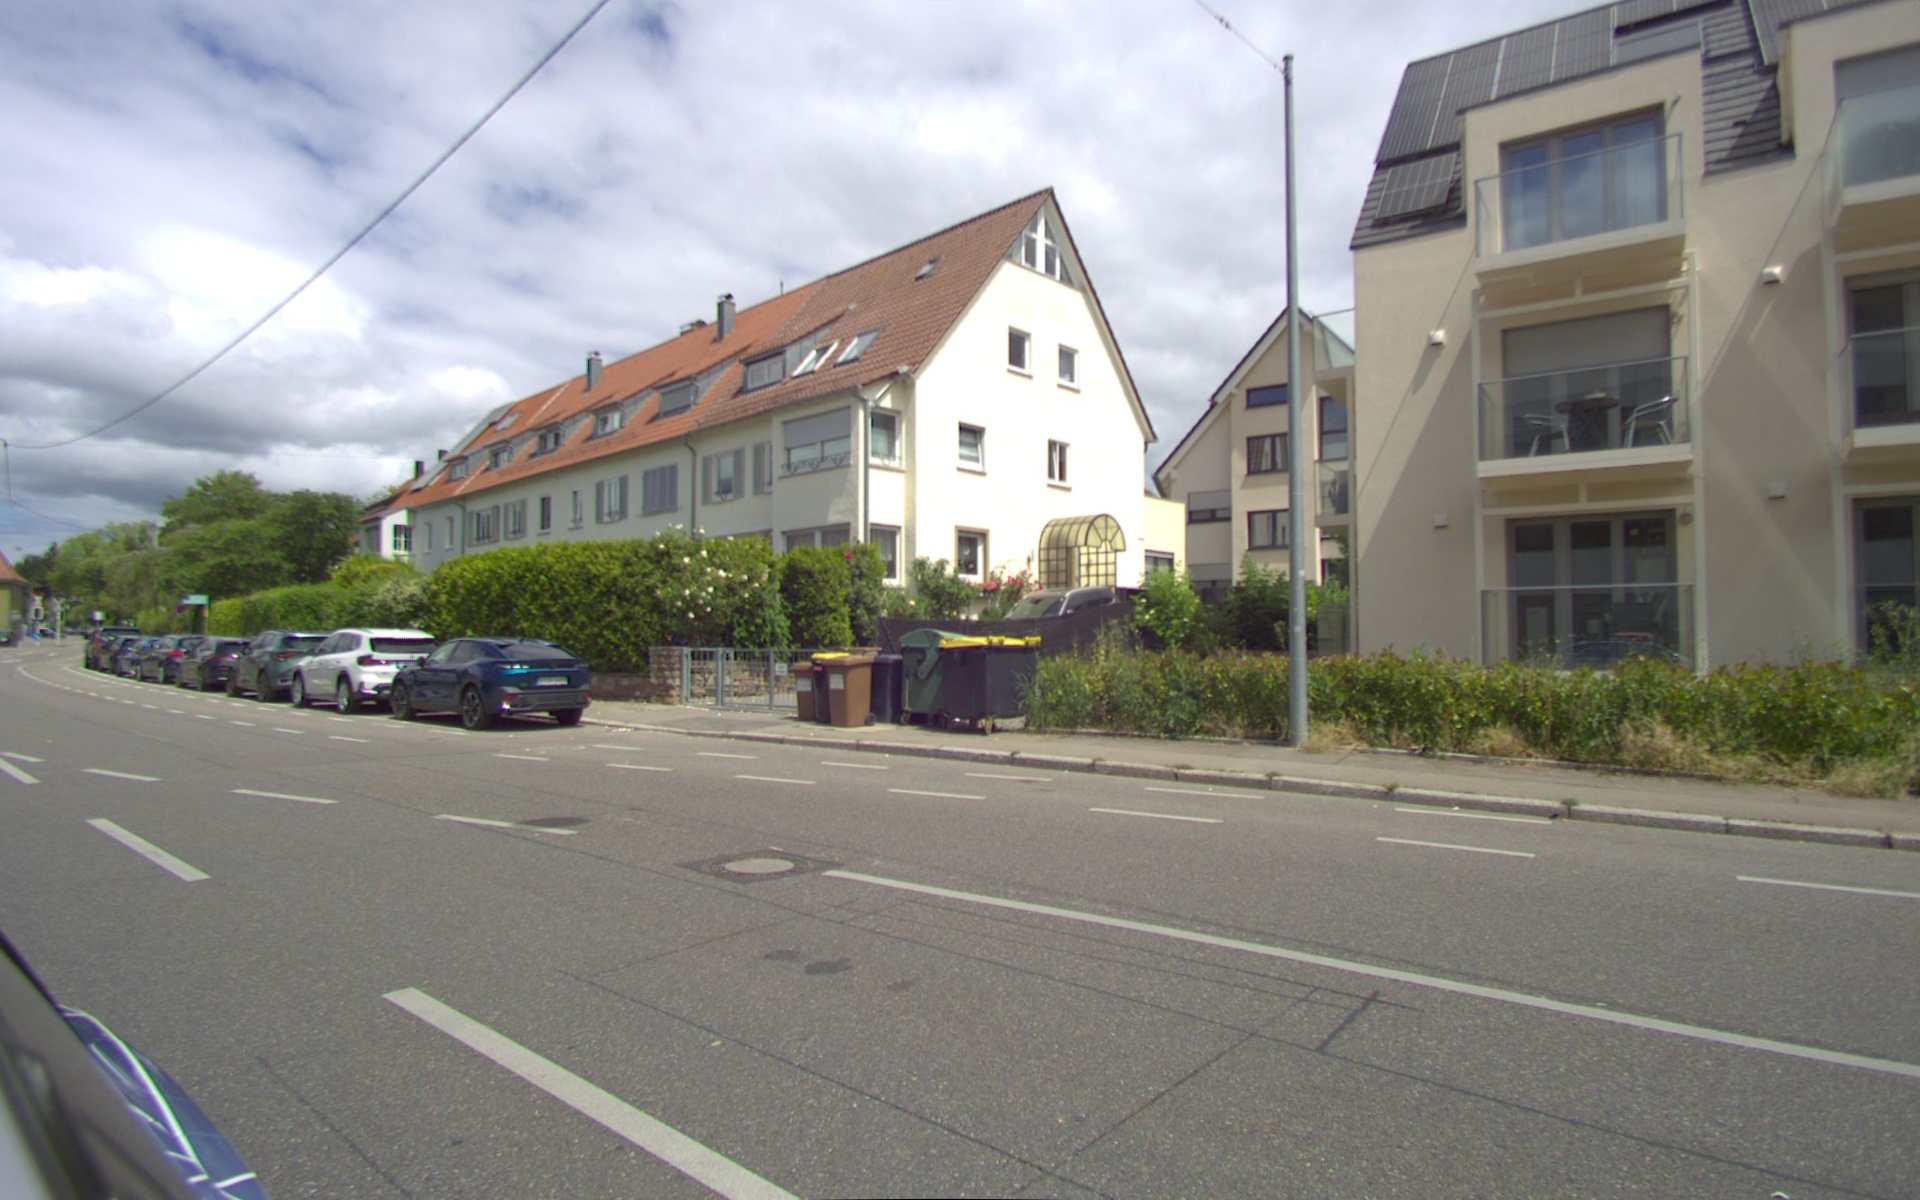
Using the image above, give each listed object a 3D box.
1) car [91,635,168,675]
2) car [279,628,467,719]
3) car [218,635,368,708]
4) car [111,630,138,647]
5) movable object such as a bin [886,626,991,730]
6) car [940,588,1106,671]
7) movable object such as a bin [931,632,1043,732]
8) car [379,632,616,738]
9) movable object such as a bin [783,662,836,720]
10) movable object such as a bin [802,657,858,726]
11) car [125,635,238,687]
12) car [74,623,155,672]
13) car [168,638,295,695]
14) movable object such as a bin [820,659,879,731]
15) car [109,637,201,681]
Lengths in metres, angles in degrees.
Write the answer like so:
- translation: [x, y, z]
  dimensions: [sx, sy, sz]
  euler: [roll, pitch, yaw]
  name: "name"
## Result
- translation: [-31.971, 2.082, 38.927]
  dimensions: [4.340, 1.428, 1.758]
  euler: [-2, -3, 44]
  name: "car"
- translation: [-12.036, 1.407, 20.632]
  dimensions: [4.515, 1.663, 1.972]
  euler: [-2, -3, 41]
  name: "car"
- translation: [-16.088, 1.639, 24.307]
  dimensions: [4.690, 1.576, 1.971]
  euler: [-2, -3, 43]
  name: "car"
- translation: [-87.074, 4.012, 105.507]
  dimensions: [1.891, 1.661, 4.302]
  euler: [6, -5, -38]
  name: "car"
- translation: [-0.327, 1.152, 15.407]
  dimensions: [1.213, 1.493, 1.054]
  euler: [-2, -3, 39]
  name: "movable object such as a bin"
- translation: [1.525, 0.650, 23.209]
  dimensions: [1.802, 1.719, 3.946]
  euler: [-2, -1, 40]
  name: "car"
- translation: [0.381, 1.121, 14.319]
  dimensions: [1.214, 1.323, 1.053]
  euler: [-2, -3, 43]
  name: "movable object such as a bin"
- translation: [-8.070, 1.361, 17.499]
  dimensions: [4.485, 1.599, 1.973]
  euler: [-1, -3, 40]
  name: "car"
- translation: [-2.419, 1.450, 16.317]
  dimensions: [0.614, 0.886, 0.589]
  euler: [-2, -3, 41]
  name: "movable object such as a bin"
- translation: [-2.024, 1.408, 15.773]
  dimensions: [0.658, 1.032, 0.589]
  euler: [-2, -3, 41]
  name: "movable object such as a bin"
- translation: [-24.266, 1.852, 31.496]
  dimensions: [4.561, 1.503, 1.760]
  euler: [-1, -3, 39]
  name: "car"
- translation: [-35.720, 1.978, 42.714]
  dimensions: [5.405, 1.909, 1.971]
  euler: [-2, -5, 44]
  name: "car"
- translation: [-20.135, 1.771, 27.882]
  dimensions: [4.690, 1.419, 1.971]
  euler: [-2, -3, 43]
  name: "car"
- translation: [-1.660, 1.407, 15.171]
  dimensions: [0.658, 1.015, 0.589]
  euler: [-2, -3, 41]
  name: "movable object such as a bin"
- translation: [-27.914, 2.000, 35.042]
  dimensions: [4.439, 1.428, 1.759]
  euler: [-2, -3, 42]
  name: "car"
